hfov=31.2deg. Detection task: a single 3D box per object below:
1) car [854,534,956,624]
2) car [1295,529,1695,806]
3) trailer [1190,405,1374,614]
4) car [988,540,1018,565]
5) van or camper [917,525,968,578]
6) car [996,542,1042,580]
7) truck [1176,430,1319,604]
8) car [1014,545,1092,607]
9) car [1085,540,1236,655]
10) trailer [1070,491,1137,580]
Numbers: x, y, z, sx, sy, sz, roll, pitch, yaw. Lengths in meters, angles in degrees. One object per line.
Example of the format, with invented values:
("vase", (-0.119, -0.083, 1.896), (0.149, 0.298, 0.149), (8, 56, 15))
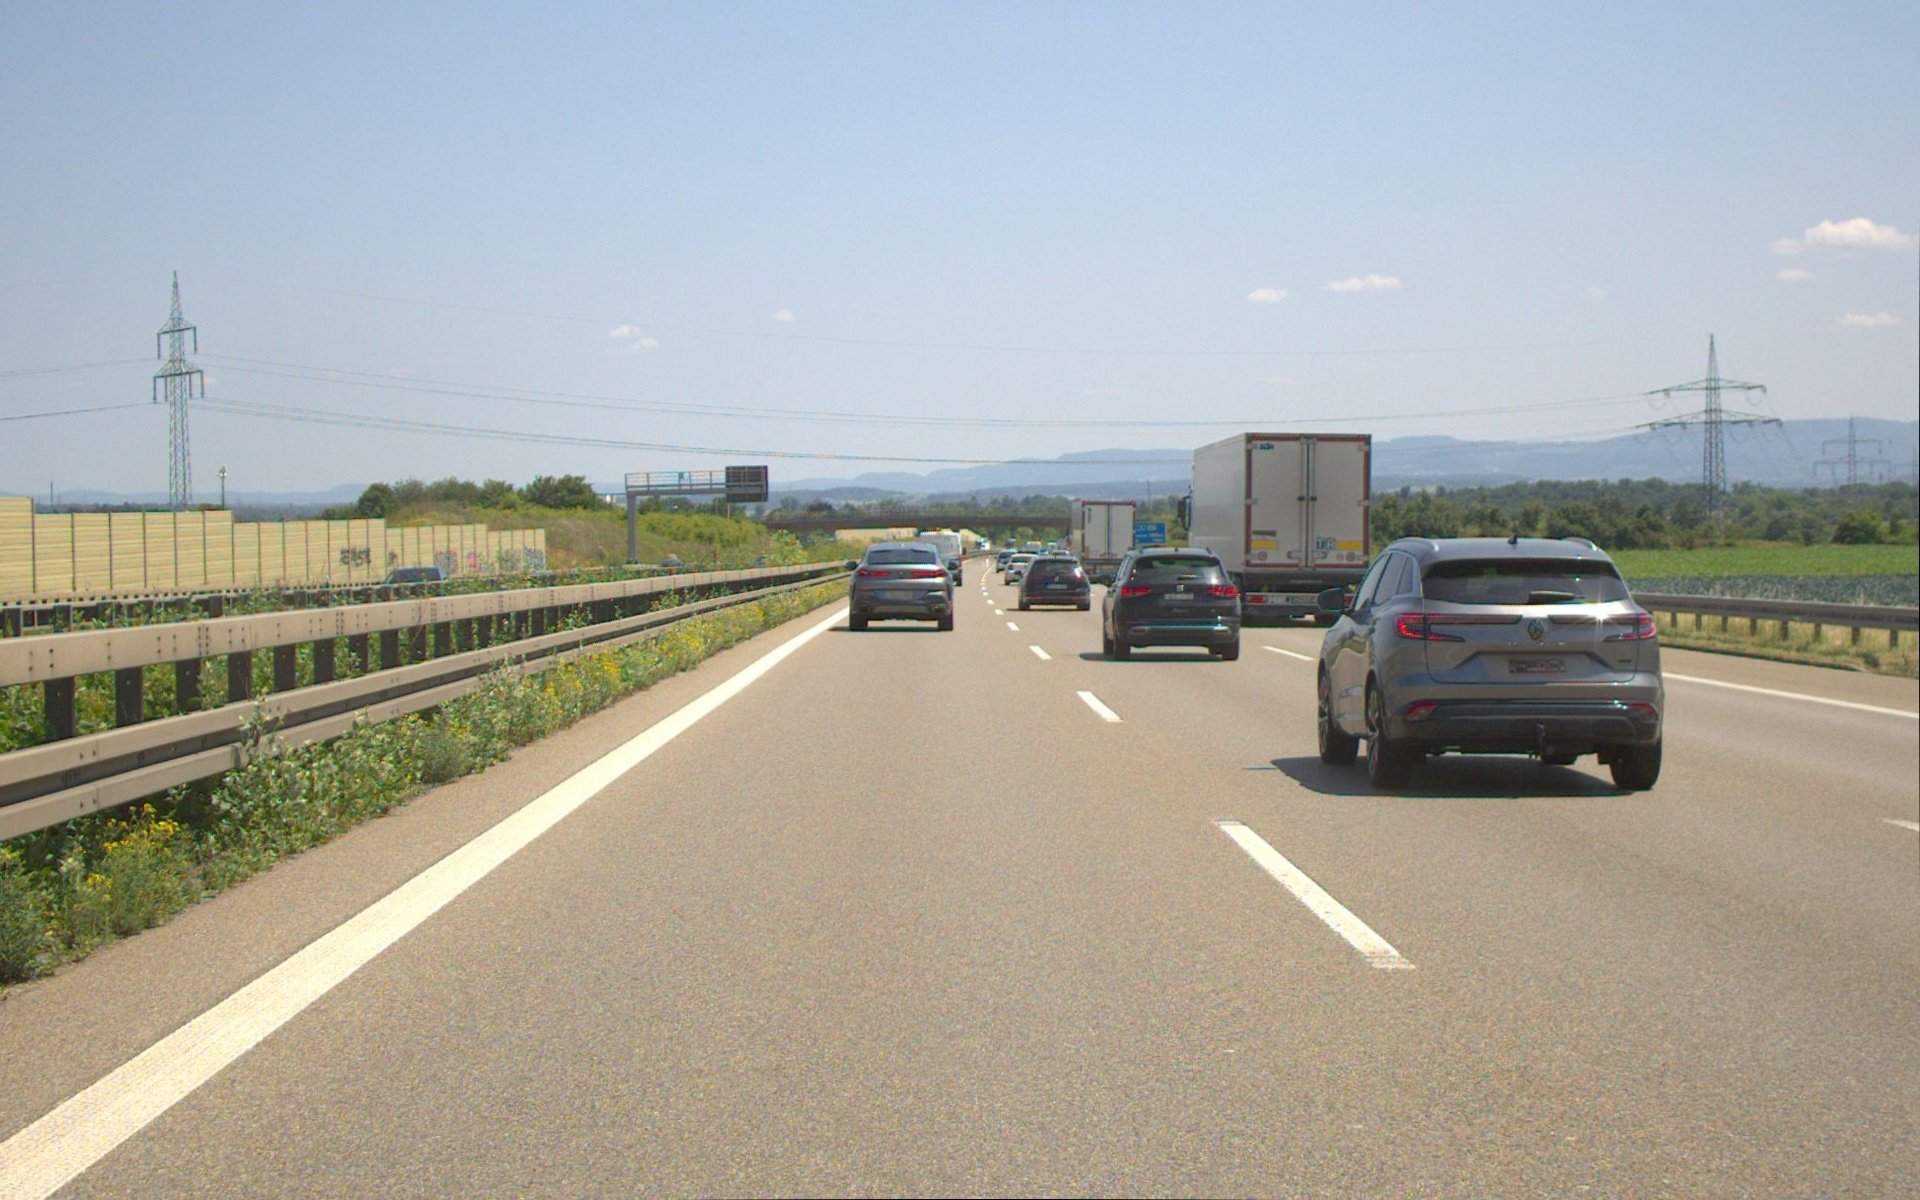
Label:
("car", (-1.086, -0.414, 66.082), (1.851, 1.658, 3.735), (1, 1, -2))
("car", (3.449, 0.384, 23.027), (1.851, 1.643, 4.645), (1, 1, -1))
("trailer", (6.981, -1.896, 76.499), (2.868, 4.205, 13.295), (1, 1, 0))
("car", (2.976, -3.289, 236.896), (1.993, 1.677, 4.000), (1, 1, 1))
("van or camper", (-0.740, -2.110, 150.397), (2.111, 2.204, 5.265), (1, 1, 1))
("car", (2.659, -1.763, 154.930), (1.993, 1.677, 4.000), (1, 1, 1))
("truck", (7.002, -1.995, 84.634), (2.862, 4.077, 6.880), (1, 1, 0))
("car", (2.418, -0.638, 90.672), (1.933, 1.569, 4.934), (1, 1, 0))
("car", (2.843, -0.055, 49.411), (1.796, 1.556, 3.824), (1, 1, -2))
("trailer", (7.050, -3.146, 170.741), (2.943, 4.184, 13.596), (1, 1, 1))
